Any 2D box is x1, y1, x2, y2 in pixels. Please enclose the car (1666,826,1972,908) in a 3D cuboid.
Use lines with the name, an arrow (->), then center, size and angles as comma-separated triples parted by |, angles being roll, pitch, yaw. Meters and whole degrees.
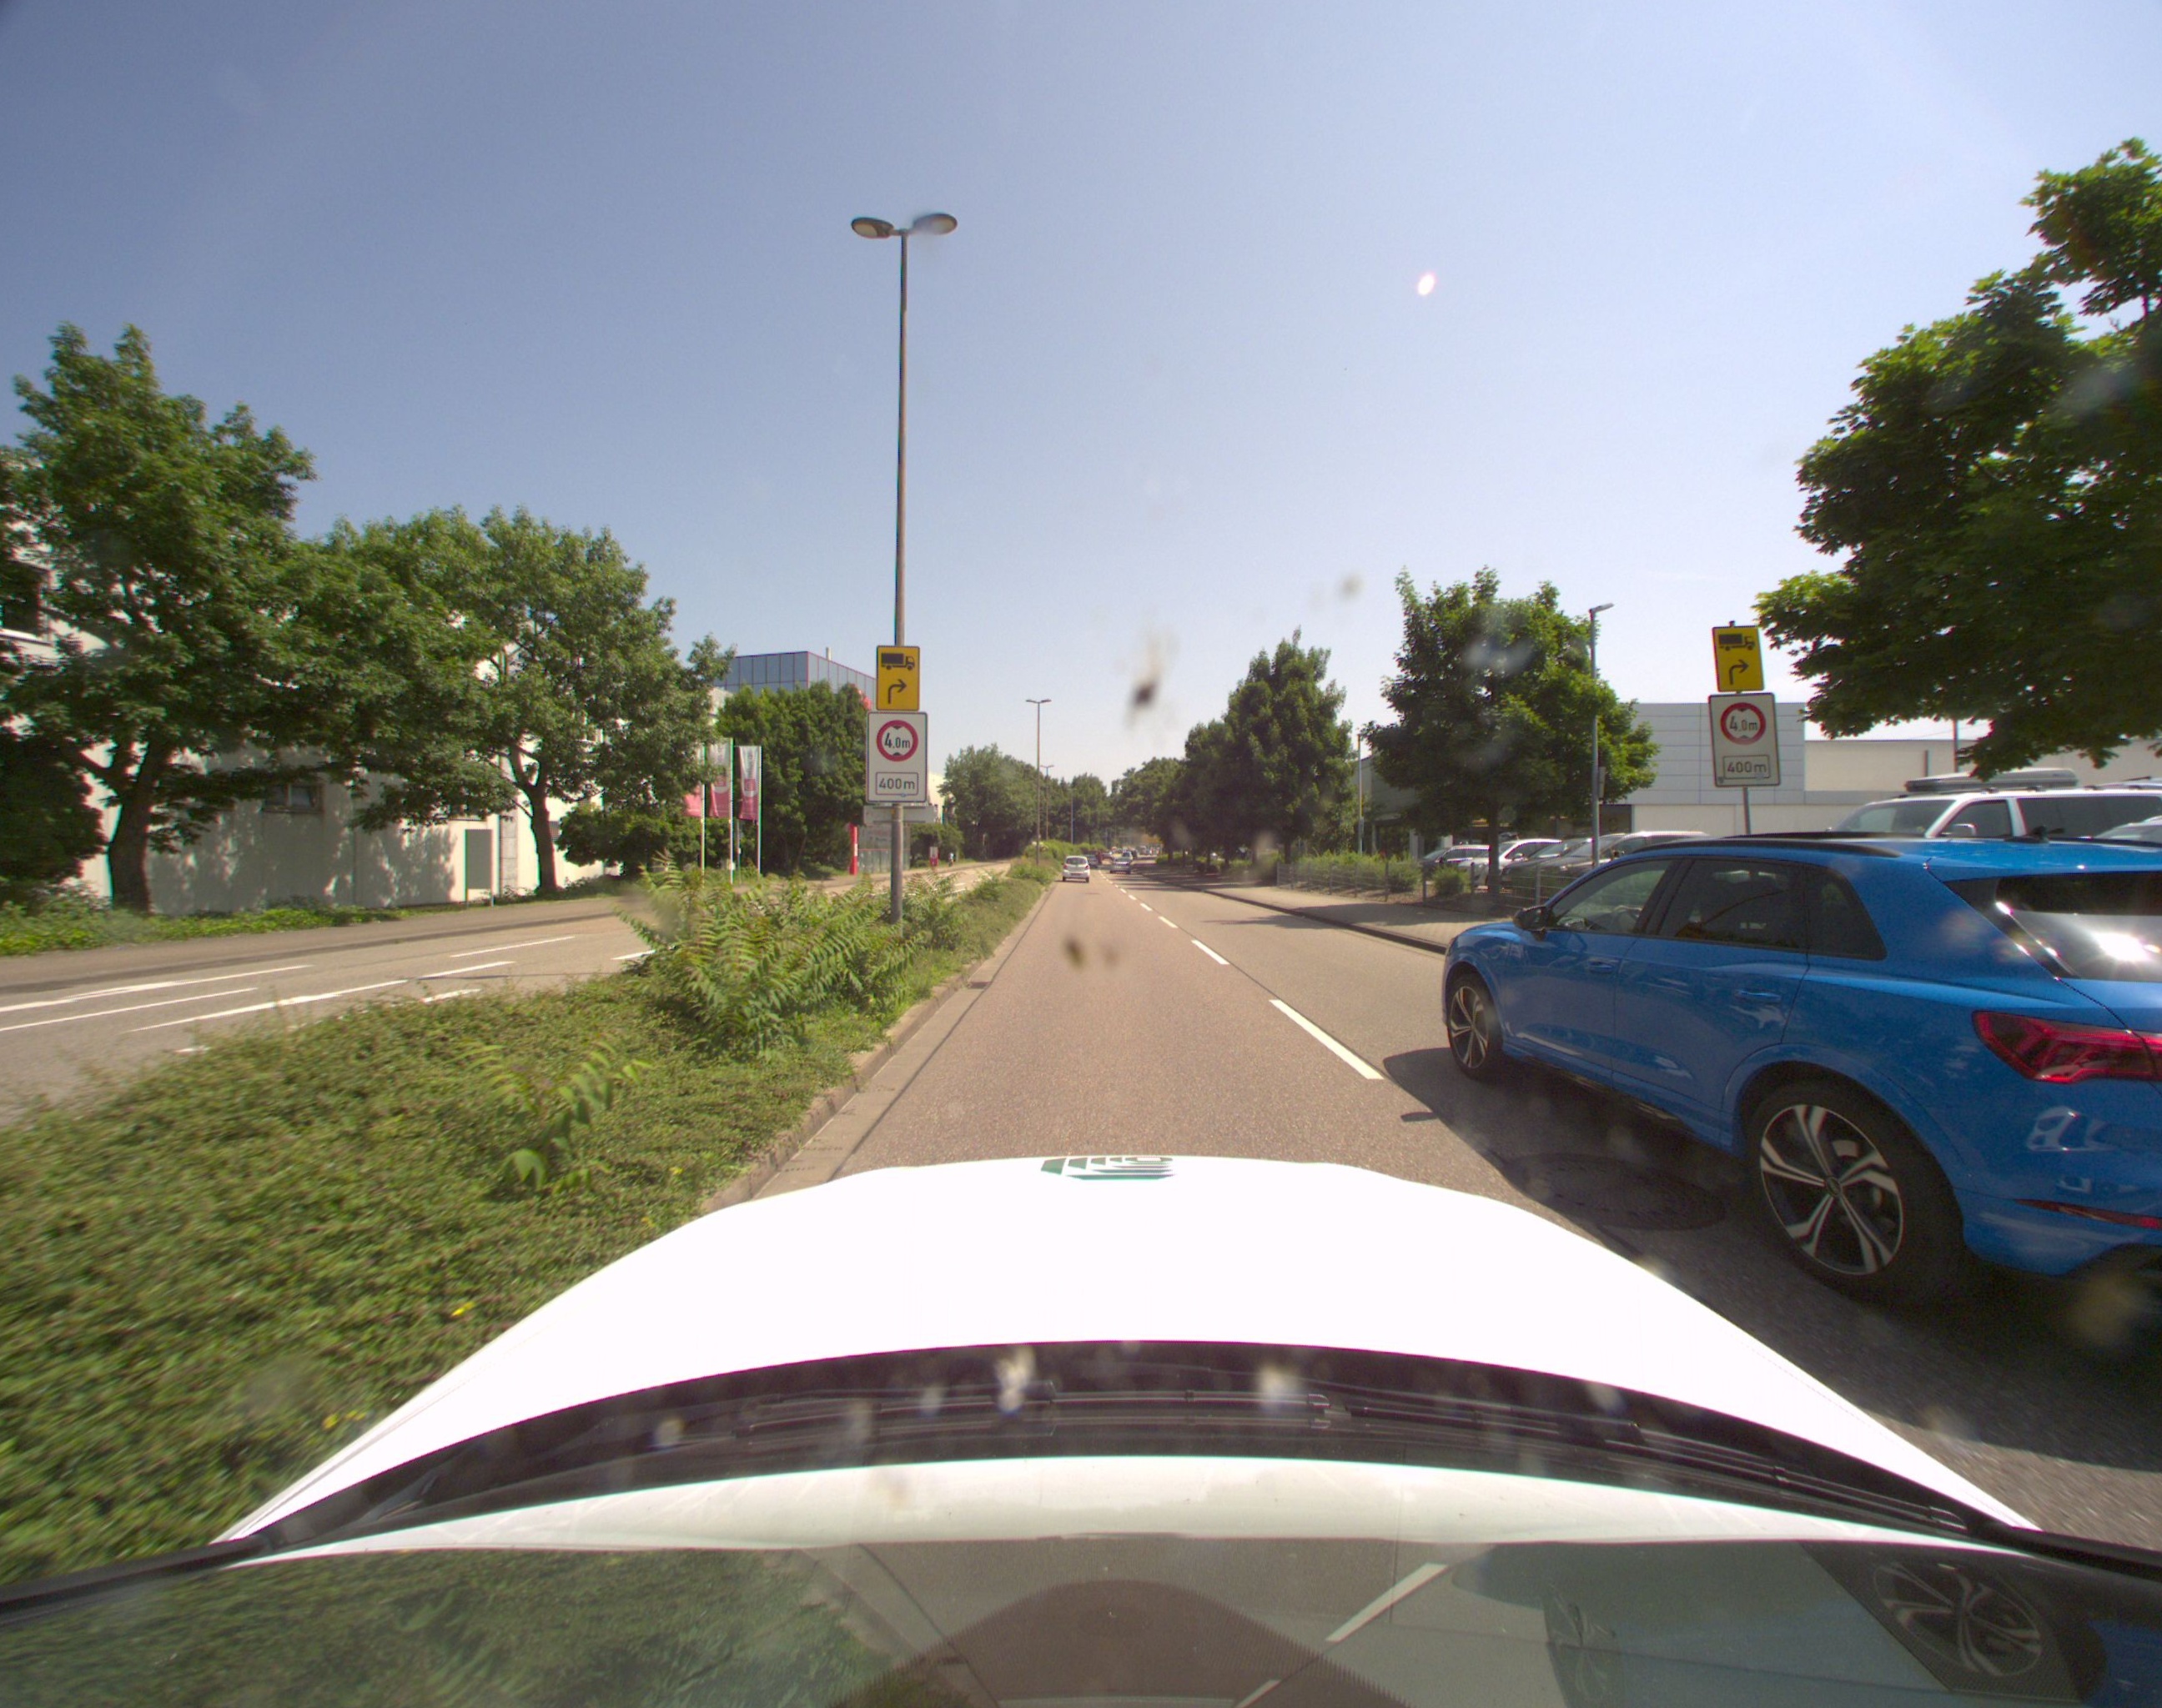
car -> 13.416, 0.215, 15.002 | 3.972, 1.389, 1.827 | 0, 0, 1

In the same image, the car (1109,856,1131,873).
car -> 3.492, 0.916, 72.427 | 1.858, 1.473, 4.003 | 1, 0, 3

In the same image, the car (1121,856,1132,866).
car -> 6.625, 1.006, 119.659 | 1.436, 1.348, 3.460 | -1, 0, 0

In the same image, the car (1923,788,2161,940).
car -> 12.879, 0.089, 9.357 | 4.346, 1.593, 1.830 | 0, 0, 5

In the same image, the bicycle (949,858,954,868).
bicycle -> -14.119, 0.954, 88.642 | 0.345, 1.067, 0.923 | -2, 0, 0

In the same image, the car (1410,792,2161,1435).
car -> 3.498, 0.614, 4.215 | 1.803, 1.592, 4.348 | -2, 0, 0

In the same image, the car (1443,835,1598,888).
car -> 13.811, 0.230, 25.728 | 3.977, 1.596, 1.825 | 0, 0, -3

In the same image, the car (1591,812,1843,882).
car -> 13.466, -0.146, 17.431 | 3.972, 1.389, 1.827 | 0, 0, 1

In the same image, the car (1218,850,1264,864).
car -> 16.477, 0.352, 84.121 | 1.961, 1.352, 4.666 | -2, 0, -34

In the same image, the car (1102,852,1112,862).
car -> 3.986, 0.459, 126.716 | 1.482, 1.392, 3.307 | 1, 0, 0

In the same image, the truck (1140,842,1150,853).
truck -> 20.636, -2.098, 261.156 | 2.918, 3.502, 9.172 | 0, 1, 6

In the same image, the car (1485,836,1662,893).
car -> 13.826, 0.290, 23.003 | 3.979, 1.534, 1.824 | 0, -1, -5

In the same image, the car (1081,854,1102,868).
car -> 1.159, 0.744, 87.547 | 1.875, 1.354, 4.006 | 1, 0, 6

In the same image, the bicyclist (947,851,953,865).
bicyclist -> -14.170, 0.476, 88.414 | 0.543, 1.509, 0.343 | -2, 0, 0

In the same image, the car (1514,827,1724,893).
car -> 13.176, 0.150, 20.142 | 3.972, 1.534, 1.827 | 0, -1, 1

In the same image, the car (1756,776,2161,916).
car -> 13.173, -0.117, 12.207 | 4.600, 1.924, 1.827 | 0, 0, 1

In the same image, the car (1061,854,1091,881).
car -> -0.274, 0.765, 48.947 | 1.632, 1.552, 3.326 | 1, 0, 1

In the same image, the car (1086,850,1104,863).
car -> 1.828, 0.298, 104.714 | 1.876, 1.608, 4.006 | -2, 0, 5

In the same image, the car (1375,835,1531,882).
car -> 13.935, 0.158, 30.687 | 4.977, 1.596, 2.021 | -2, 0, -2
